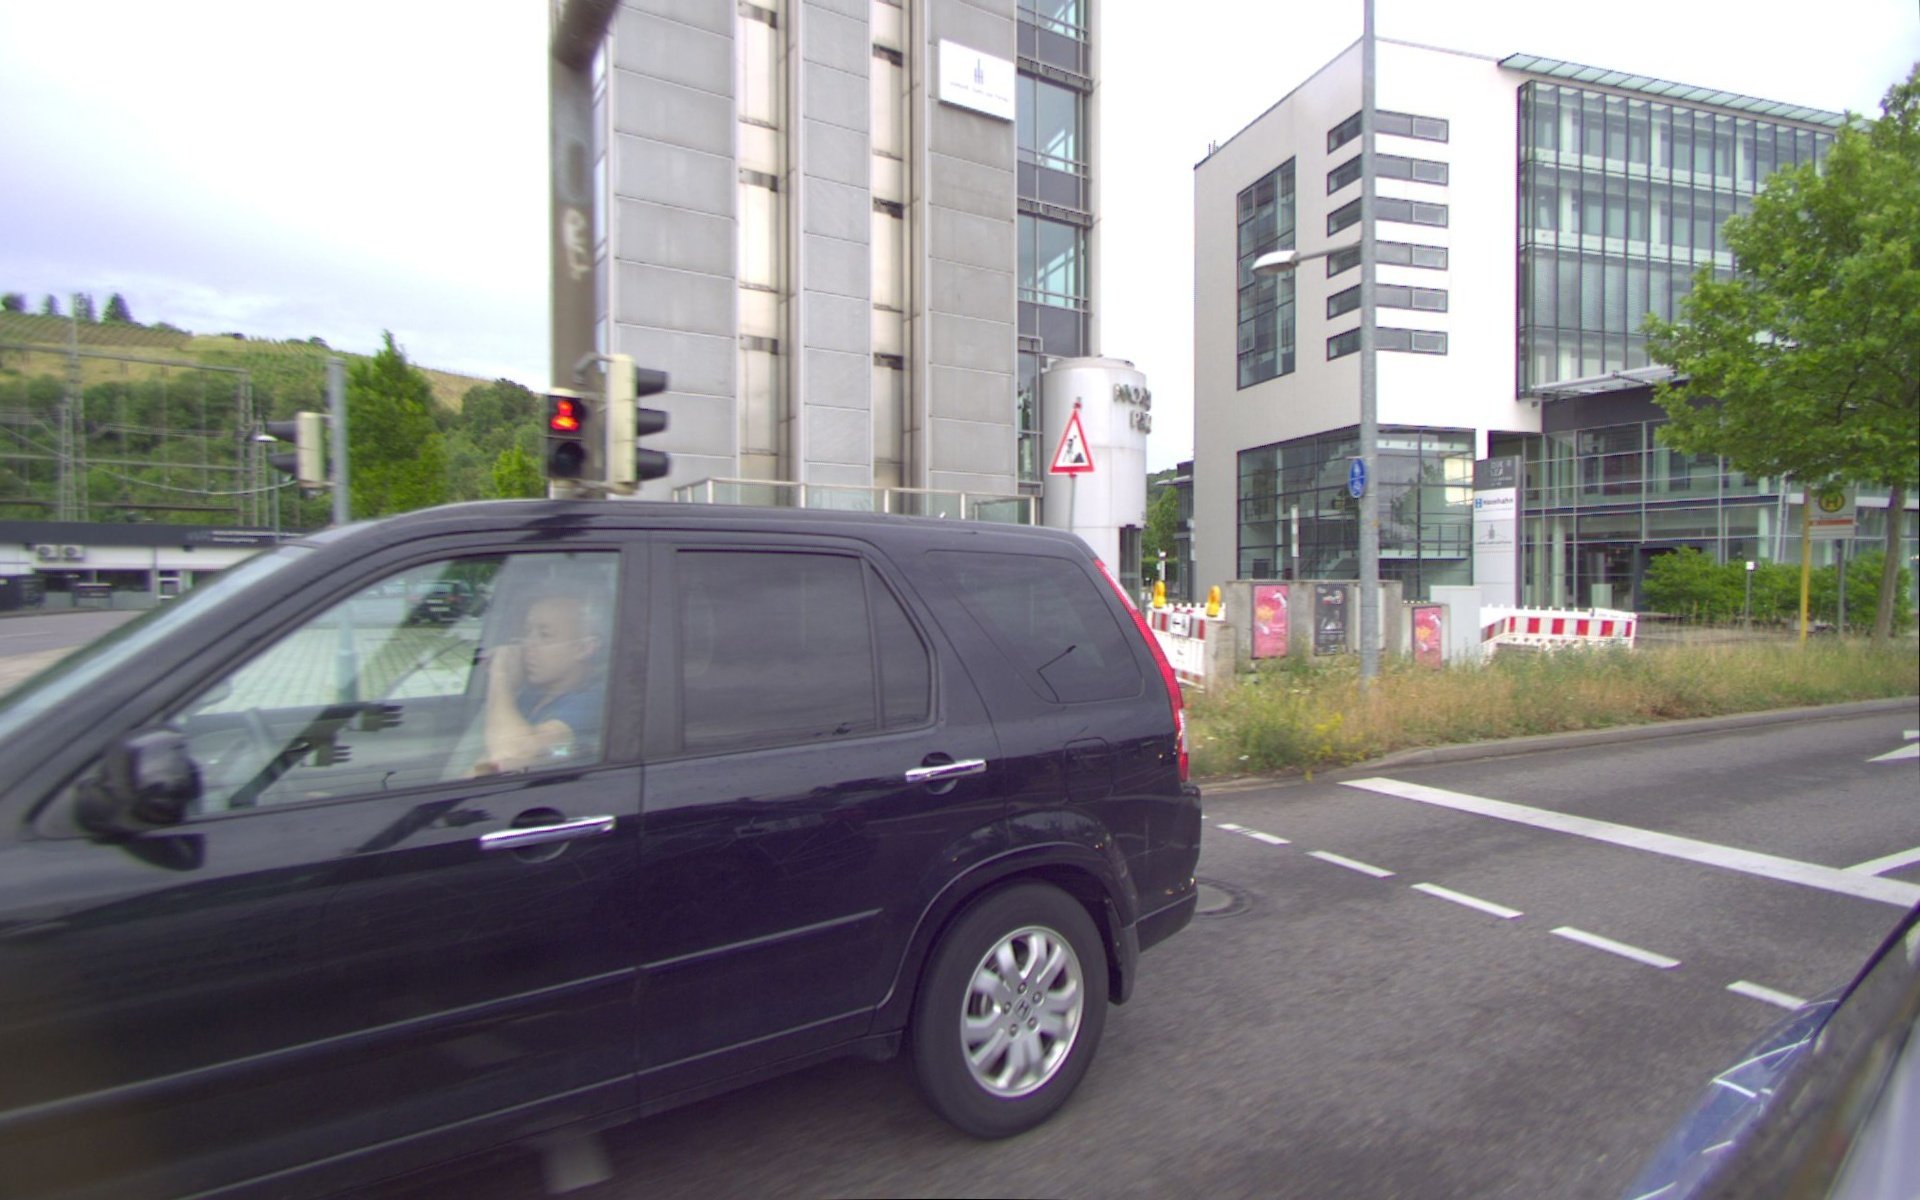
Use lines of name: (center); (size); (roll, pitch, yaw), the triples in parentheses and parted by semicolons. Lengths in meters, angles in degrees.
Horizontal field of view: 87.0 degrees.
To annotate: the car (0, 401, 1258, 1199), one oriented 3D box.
car: (-1.295, 0.548, 2.631); (4.245, 1.651, 1.770); (-1, -1, -37)
